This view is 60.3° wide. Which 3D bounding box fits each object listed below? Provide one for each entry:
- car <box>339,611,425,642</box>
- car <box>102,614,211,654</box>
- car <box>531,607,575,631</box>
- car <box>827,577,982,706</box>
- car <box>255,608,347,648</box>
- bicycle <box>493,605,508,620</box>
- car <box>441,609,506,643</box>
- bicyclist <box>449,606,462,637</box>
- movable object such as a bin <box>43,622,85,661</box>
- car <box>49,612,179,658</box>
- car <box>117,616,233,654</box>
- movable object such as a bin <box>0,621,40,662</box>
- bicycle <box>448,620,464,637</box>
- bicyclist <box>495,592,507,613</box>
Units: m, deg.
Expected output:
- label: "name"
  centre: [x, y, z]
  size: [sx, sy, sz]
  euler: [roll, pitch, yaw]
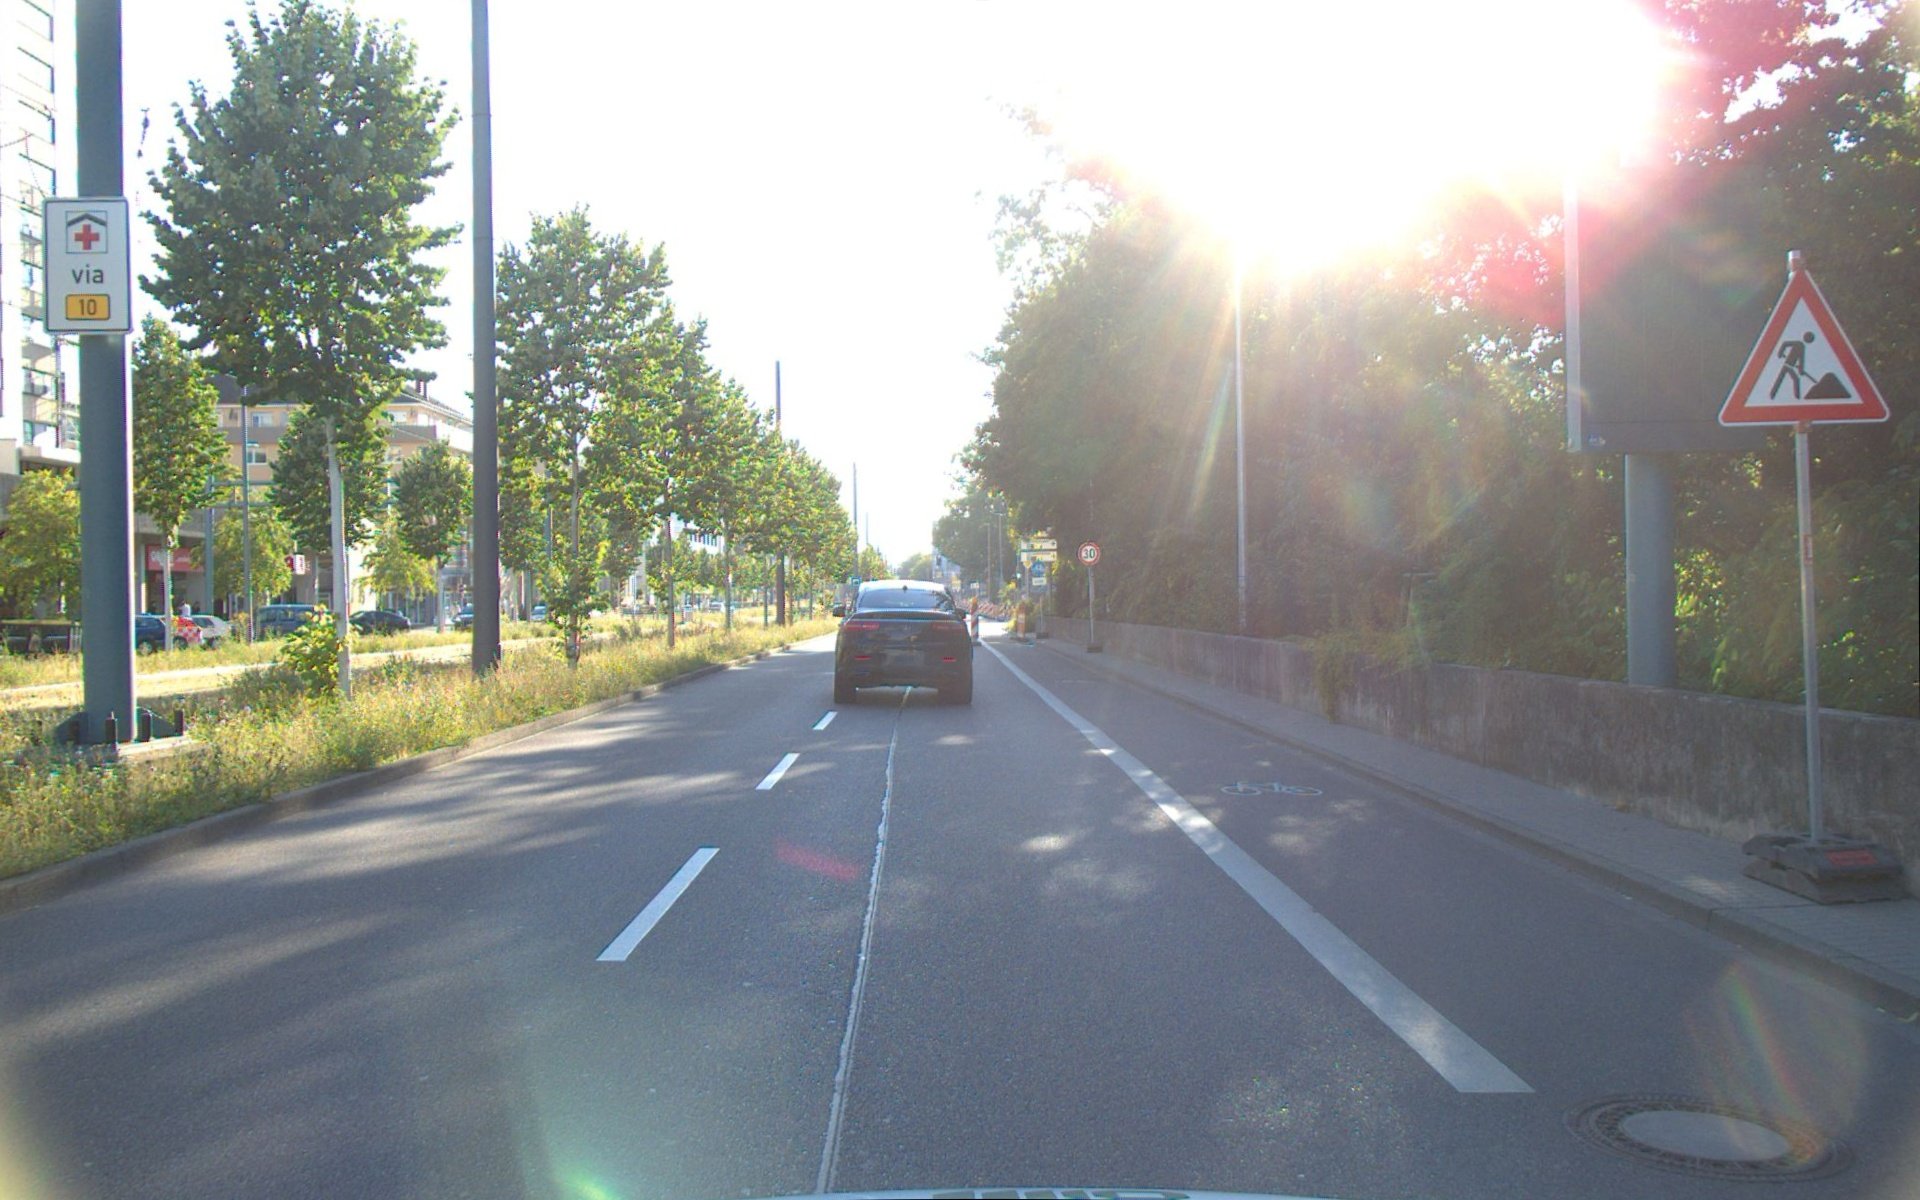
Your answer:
- label: "car"
  centre: [-31.225, 1.410, 89.388]
  size: [3.968, 1.590, 1.969]
  euler: [0, 0, -43]
- label: "car"
  centre: [-31.962, 1.354, 65.839]
  size: [3.595, 1.550, 1.596]
  euler: [2, -1, -42]
- label: "car"
  centre: [-26.541, 1.217, 108.012]
  size: [1.847, 1.541, 4.000]
  euler: [0, 0, 1]
- label: "car"
  centre: [-0.916, 0.559, 24.684]
  size: [1.956, 1.765, 3.993]
  euler: [0, 0, -7]
- label: "car"
  centre: [-31.631, 1.335, 79.445]
  size: [3.725, 1.861, 1.797]
  euler: [1, 0, -41]
- label: "bicycle"
  centre: [-30.534, 0.799, 109.837]
  size: [0.594, 0.980, 1.716]
  euler: [0, 0, -4]
- label: "car"
  centre: [-25.428, 1.333, 86.610]
  size: [1.847, 1.718, 5.089]
  euler: [0, 0, 1]
- label: "bicyclist"
  centre: [-29.509, 1.248, 96.839]
  size: [0.529, 1.819, 0.857]
  euler: [0, 0, -4]
- label: "movable object such as a bin"
  centre: [-30.902, 1.421, 57.054]
  size: [0.839, 1.303, 0.940]
  euler: [-1, 0, 13]
- label: "car"
  centre: [-31.862, 1.332, 62.337]
  size: [4.061, 1.629, 1.723]
  euler: [2, 0, -42]
- label: "car"
  centre: [-32.422, 1.420, 68.365]
  size: [1.754, 1.478, 3.978]
  euler: [0, 0, 40]
- label: "movable object such as a bin"
  centre: [-32.255, 1.410, 56.700]
  size: [0.839, 1.381, 0.940]
  euler: [-1, 0, 13]
- label: "bicycle"
  centre: [-29.529, 1.663, 96.895]
  size: [0.533, 1.010, 1.710]
  euler: [0, 0, -3]
- label: "bicyclist"
  centre: [-30.501, 0.146, 109.915]
  size: [0.580, 1.379, 0.759]
  euler: [0, 0, -4]
